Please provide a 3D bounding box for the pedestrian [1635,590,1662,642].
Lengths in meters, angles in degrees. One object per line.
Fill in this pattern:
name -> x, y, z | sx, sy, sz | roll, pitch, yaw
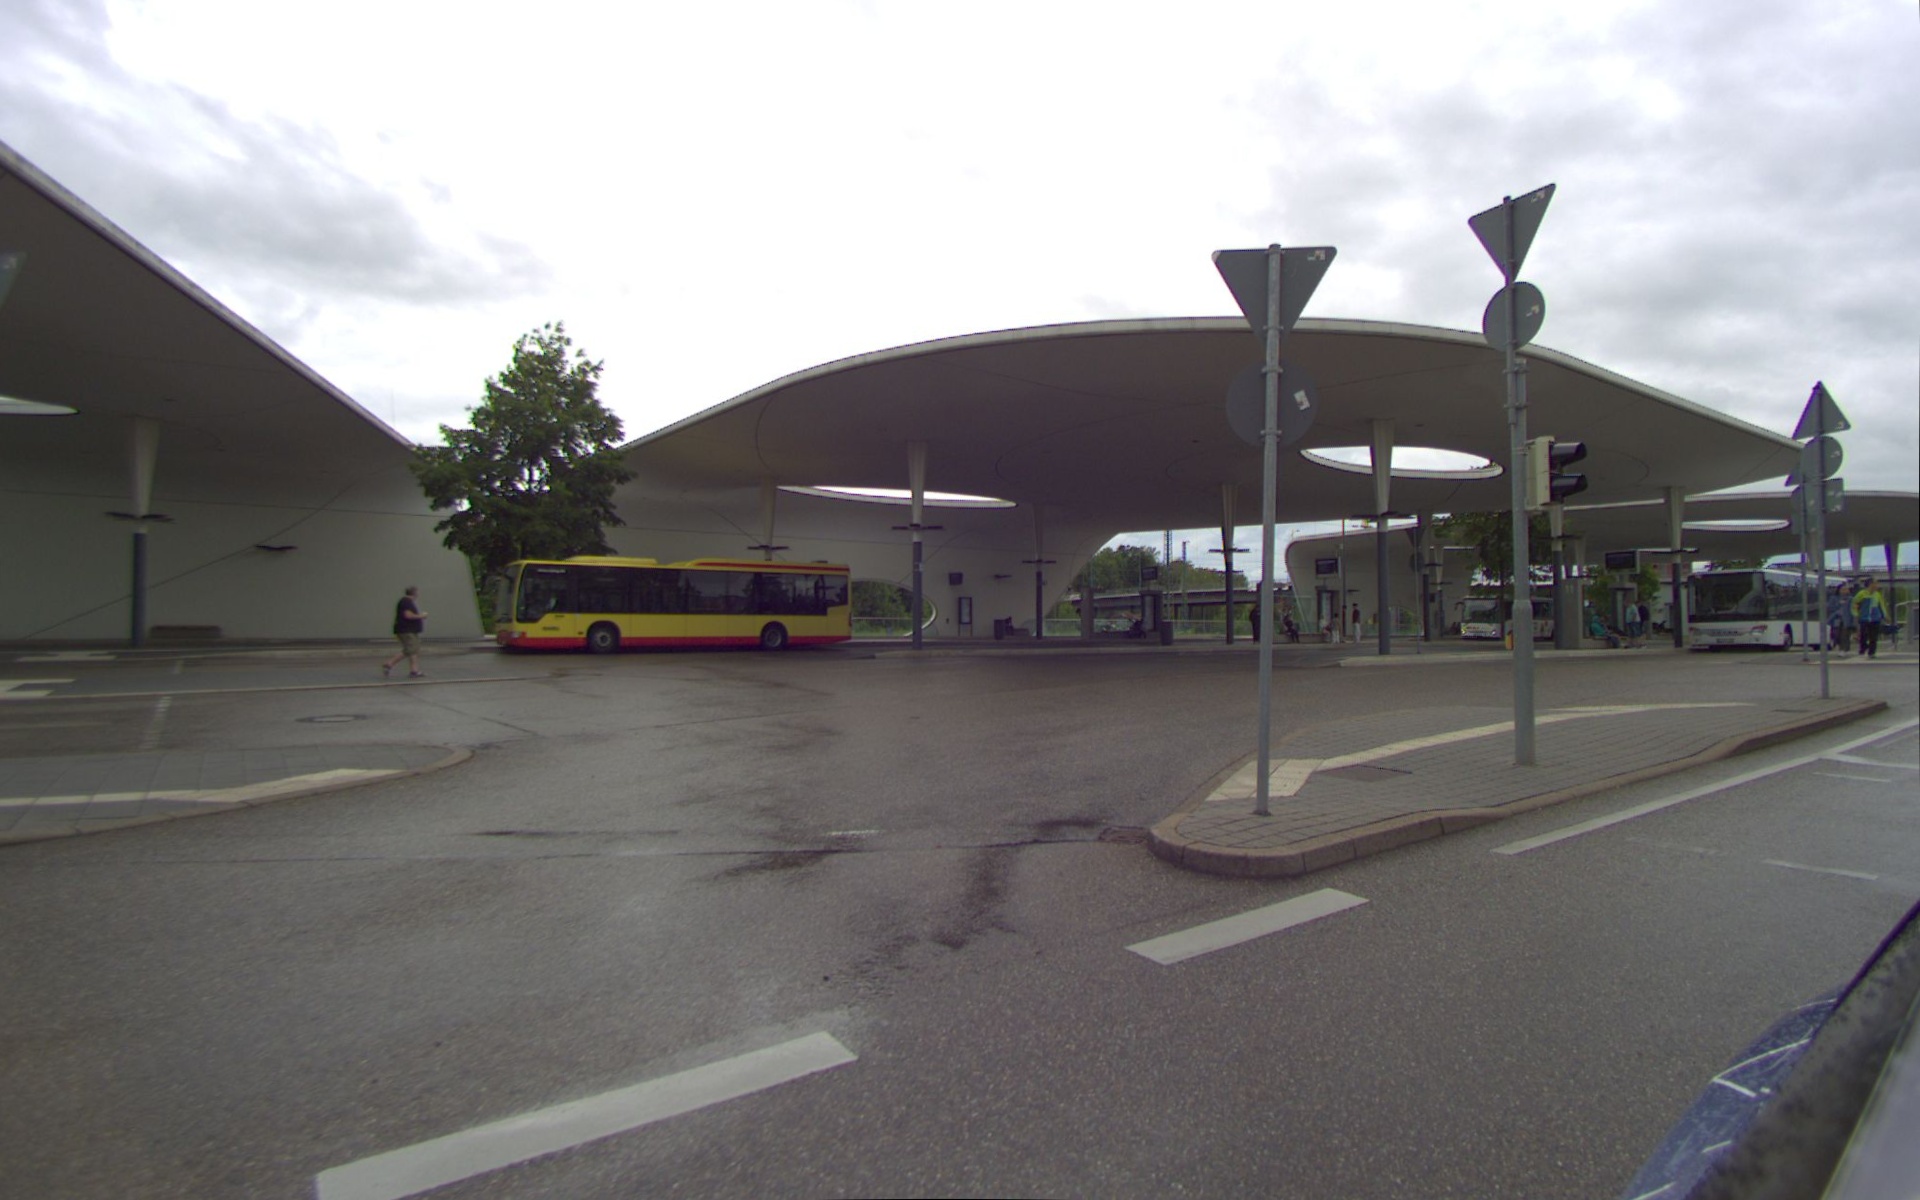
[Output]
pedestrian -> 26.271, 0.613, 38.624 | 0.640, 1.928, 0.583 | 3, 0, 18

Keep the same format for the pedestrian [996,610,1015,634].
pedestrian -> 2.679, 1.294, 59.913 | 0.786, 1.341, 0.711 | -3, -2, -33

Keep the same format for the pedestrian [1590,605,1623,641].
pedestrian -> 23.876, 0.845, 37.373 | 0.945, 1.271, 0.642 | 3, 0, 31

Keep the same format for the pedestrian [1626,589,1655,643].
pedestrian -> 24.884, 0.574, 36.991 | 0.635, 1.911, 0.587 | 3, 0, -26

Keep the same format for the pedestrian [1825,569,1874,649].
pedestrian -> 19.640, 0.206, 22.348 | 0.570, 1.691, 0.590 | -4, -1, -37

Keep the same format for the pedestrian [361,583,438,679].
pedestrian -> -10.442, 0.553, 18.872 | 0.713, 1.705, 1.011 | 1, 1, 28

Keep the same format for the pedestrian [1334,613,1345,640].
pedestrian -> 16.389, 1.125, 43.734 | 0.357, 1.159, 0.395 | 0, -1, 5

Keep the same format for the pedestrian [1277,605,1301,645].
pedestrian -> 13.890, 1.047, 42.738 | 0.666, 1.610, 0.589 | -3, -2, -40

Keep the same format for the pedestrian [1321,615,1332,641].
pedestrian -> 15.868, 1.202, 43.806 | 0.346, 1.095, 0.392 | 0, -1, 5

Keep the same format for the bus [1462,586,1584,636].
bus -> 39.456, 0.704, 70.691 | 11.914, 3.299, 2.796 | 0, -1, -37

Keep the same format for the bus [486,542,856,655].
bus -> -9.339, -0.046, 34.363 | 11.919, 3.299, 2.795 | 0, -1, -38

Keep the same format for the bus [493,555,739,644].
bus -> -14.436, -0.031, 43.174 | 9.676, 3.442, 2.521 | 0, 0, -38

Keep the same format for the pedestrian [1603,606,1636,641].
pedestrian -> 24.589, 0.870, 37.739 | 0.945, 1.271, 0.642 | 3, 0, 31

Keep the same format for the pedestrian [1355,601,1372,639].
pedestrian -> 18.194, 0.894, 45.644 | 0.633, 1.675, 0.637 | 0, -1, 14

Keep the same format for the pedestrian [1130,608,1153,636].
pedestrian -> 9.129, 1.114, 50.951 | 0.785, 1.341, 0.712 | -4, -2, -29

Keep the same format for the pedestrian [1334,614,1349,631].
pedestrian -> 30.269, 1.784, 80.273 | 0.698, 1.341, 0.801 | -4, -2, -31

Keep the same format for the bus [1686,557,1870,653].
bus -> 33.158, 0.186, 40.735 | 12.194, 3.404, 2.853 | 0, 0, -37

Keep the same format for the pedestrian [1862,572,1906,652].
pedestrian -> 19.917, 0.258, 21.812 | 0.570, 1.691, 0.524 | -3, 0, -37

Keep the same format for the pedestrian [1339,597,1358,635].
pedestrian -> 17.351, 0.698, 45.161 | 0.546, 1.675, 0.571 | 1, -1, -30

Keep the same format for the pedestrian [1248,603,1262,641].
pedestrian -> 12.172, 0.904, 41.715 | 0.514, 1.521, 0.380 | 0, -1, 14
